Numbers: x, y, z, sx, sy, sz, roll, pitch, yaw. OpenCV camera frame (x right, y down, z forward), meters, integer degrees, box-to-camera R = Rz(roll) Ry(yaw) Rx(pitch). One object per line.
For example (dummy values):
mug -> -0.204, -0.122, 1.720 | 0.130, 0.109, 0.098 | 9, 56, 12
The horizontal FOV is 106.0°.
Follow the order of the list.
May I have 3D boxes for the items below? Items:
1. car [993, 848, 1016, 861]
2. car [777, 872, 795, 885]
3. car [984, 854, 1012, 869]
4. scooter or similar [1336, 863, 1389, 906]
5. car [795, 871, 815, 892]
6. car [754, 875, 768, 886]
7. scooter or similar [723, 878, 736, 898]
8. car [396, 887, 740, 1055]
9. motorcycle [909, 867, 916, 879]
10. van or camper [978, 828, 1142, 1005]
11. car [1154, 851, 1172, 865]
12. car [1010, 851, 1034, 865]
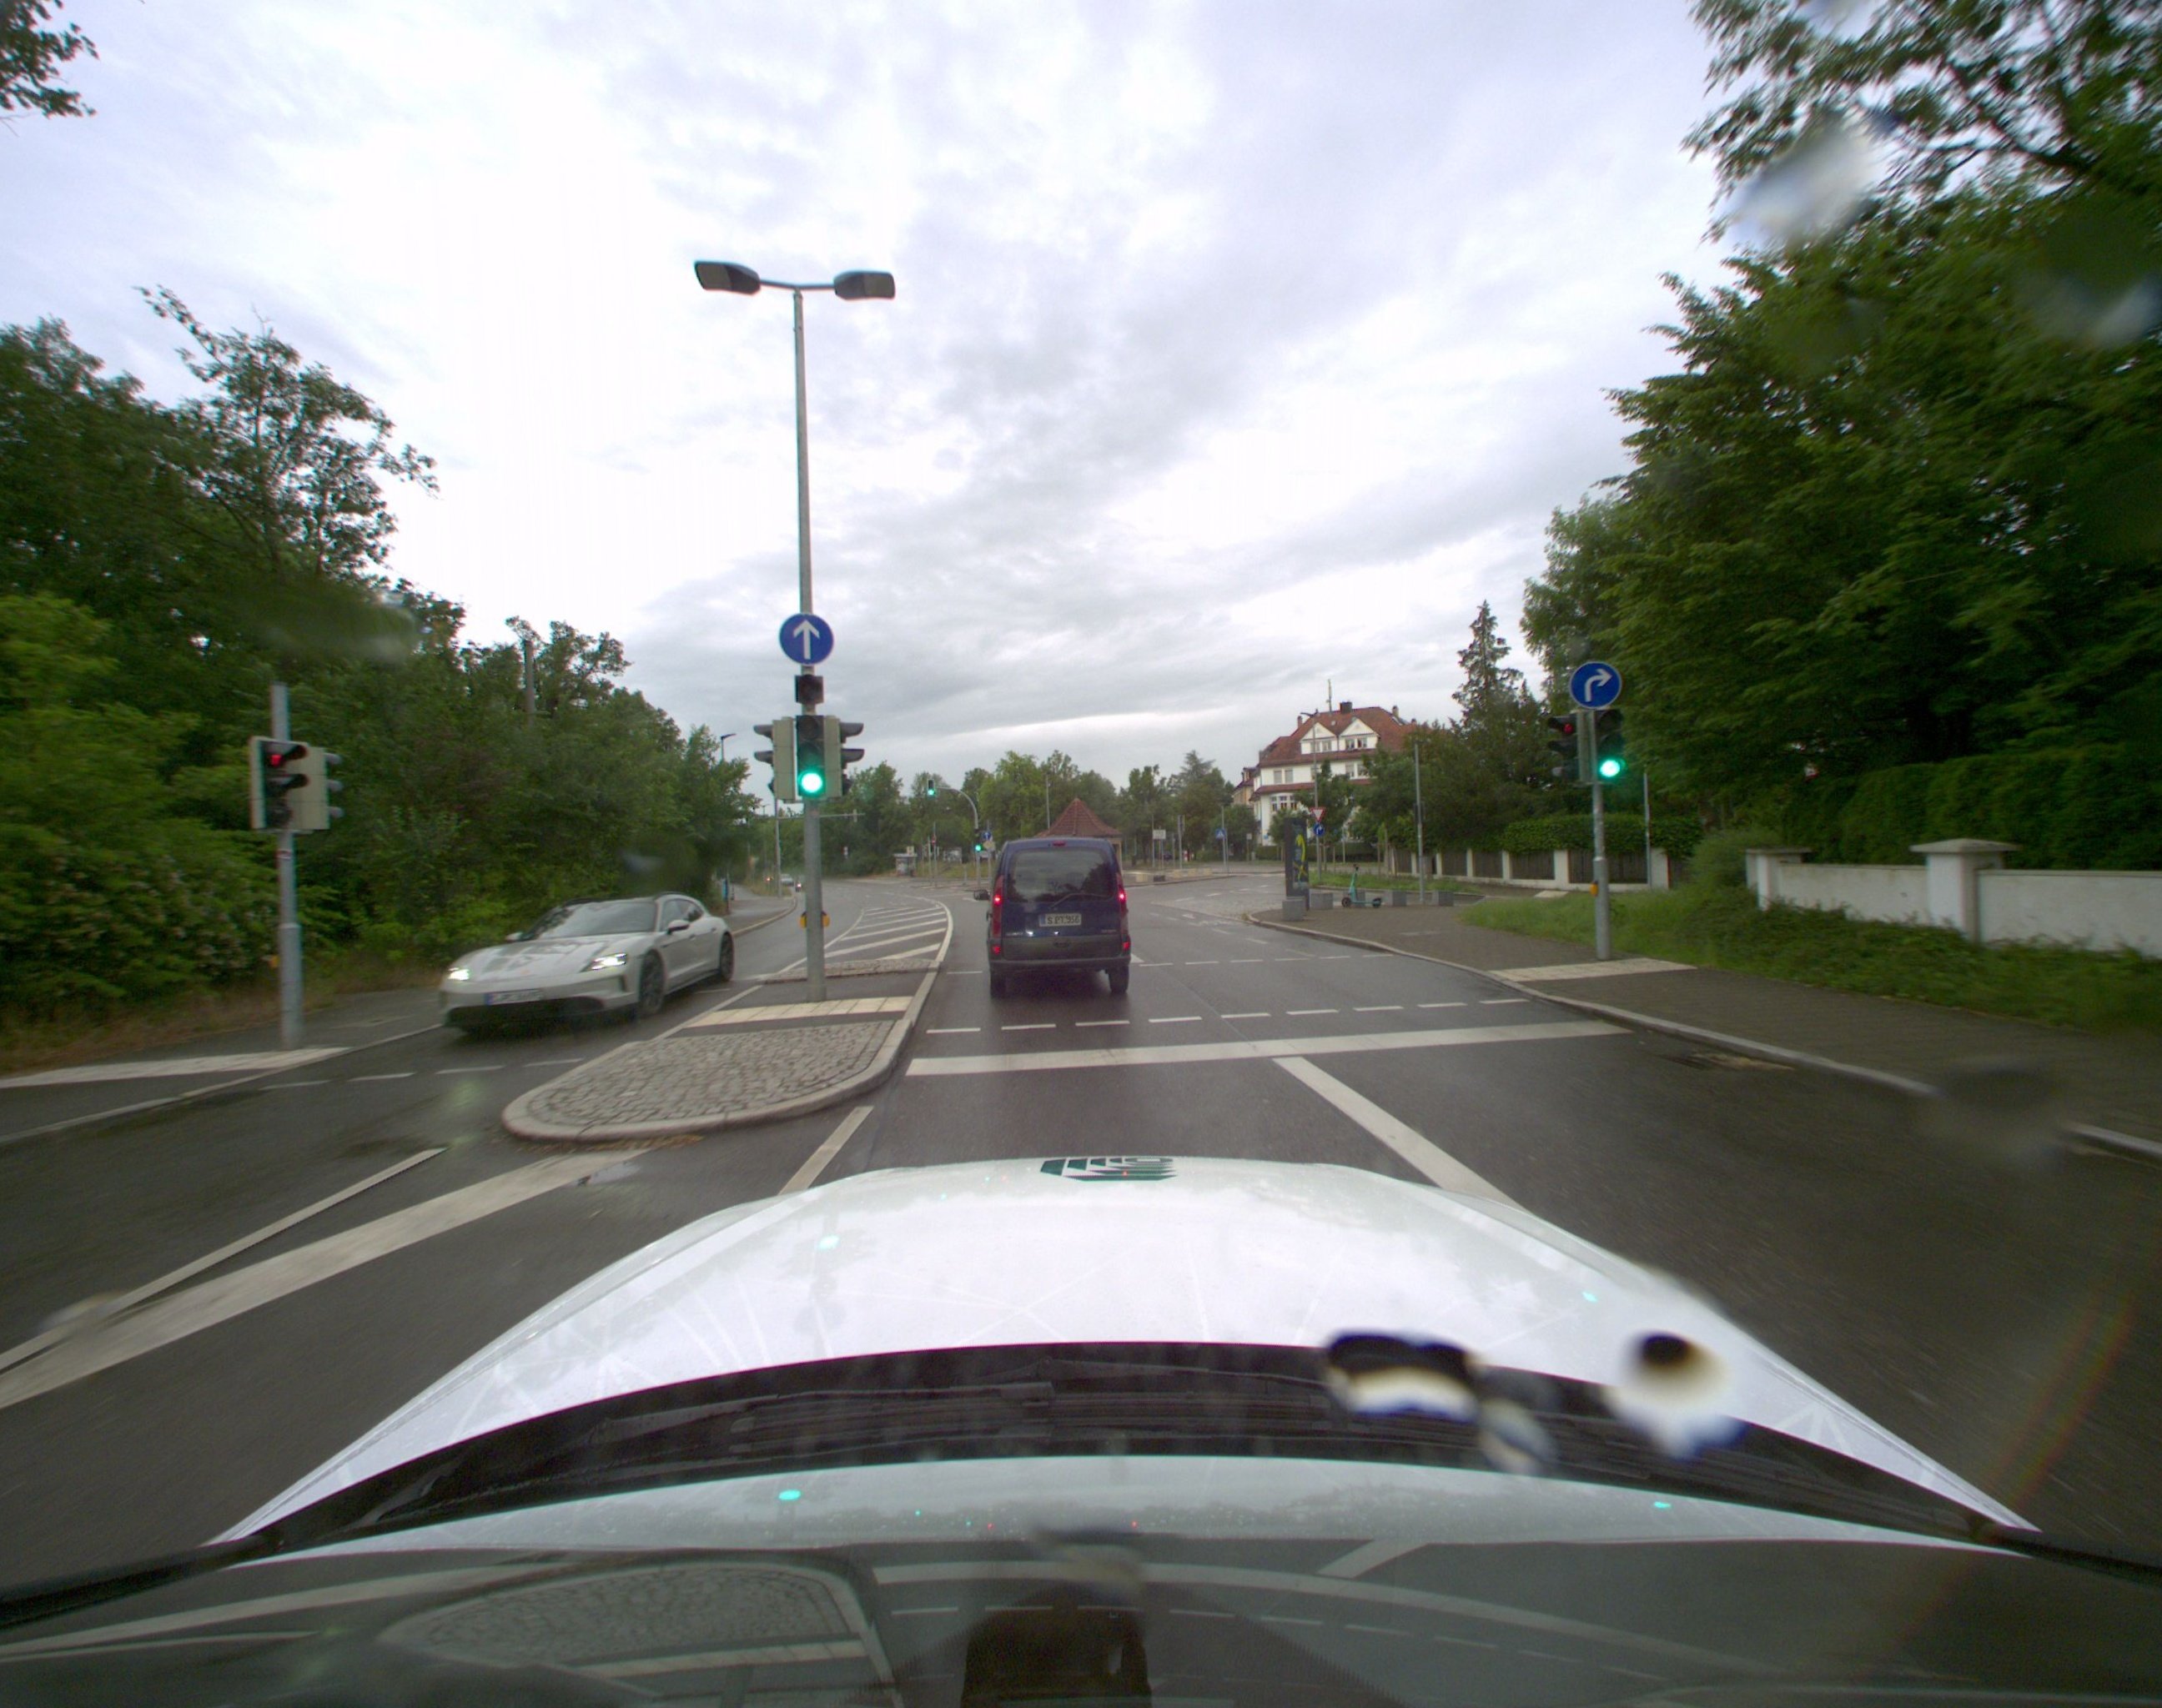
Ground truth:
car -> -9.953, 0.047, 105.638 | 1.892, 1.480, 4.041 | -2, -1, -20
car -> -34.235, 2.840, 94.541 | 1.748, 1.352, 4.178 | -4, 0, -22
car -> -9.381, 0.846, 91.749 | 2.002, 1.480, 4.252 | -1, -2, -22
scooter or similar -> 7.983, 0.851, 23.109 | 1.347, 1.207, 0.523 | 0, -2, -8
car -> -25.029, 2.487, 73.877 | 1.581, 1.730, 3.750 | -4, 0, -19
car -> -48.788, 4.002, 124.062 | 1.796, 1.581, 4.527 | -4, 0, -22
scooter or similar -> -22.235, 2.167, 51.595 | 0.518, 1.212, 1.461 | -2, 0, -15
car -> -6.025, 1.244, 10.382 | 1.939, 1.376, 4.590 | -4, 0, -9
motorcycle -> -18.751, 2.112, 90.796 | 0.589, 1.289, 1.533 | -3, 0, -9
van or camper -> -0.434, 0.688, 10.759 | 1.711, 1.826, 3.991 | -2, -1, -6
car -> 12.580, 0.653, 125.428 | 1.991, 2.014, 3.992 | -2, -1, -6
car -> -6.894, 0.442, 95.424 | 1.890, 1.480, 4.044 | -1, -2, -18
